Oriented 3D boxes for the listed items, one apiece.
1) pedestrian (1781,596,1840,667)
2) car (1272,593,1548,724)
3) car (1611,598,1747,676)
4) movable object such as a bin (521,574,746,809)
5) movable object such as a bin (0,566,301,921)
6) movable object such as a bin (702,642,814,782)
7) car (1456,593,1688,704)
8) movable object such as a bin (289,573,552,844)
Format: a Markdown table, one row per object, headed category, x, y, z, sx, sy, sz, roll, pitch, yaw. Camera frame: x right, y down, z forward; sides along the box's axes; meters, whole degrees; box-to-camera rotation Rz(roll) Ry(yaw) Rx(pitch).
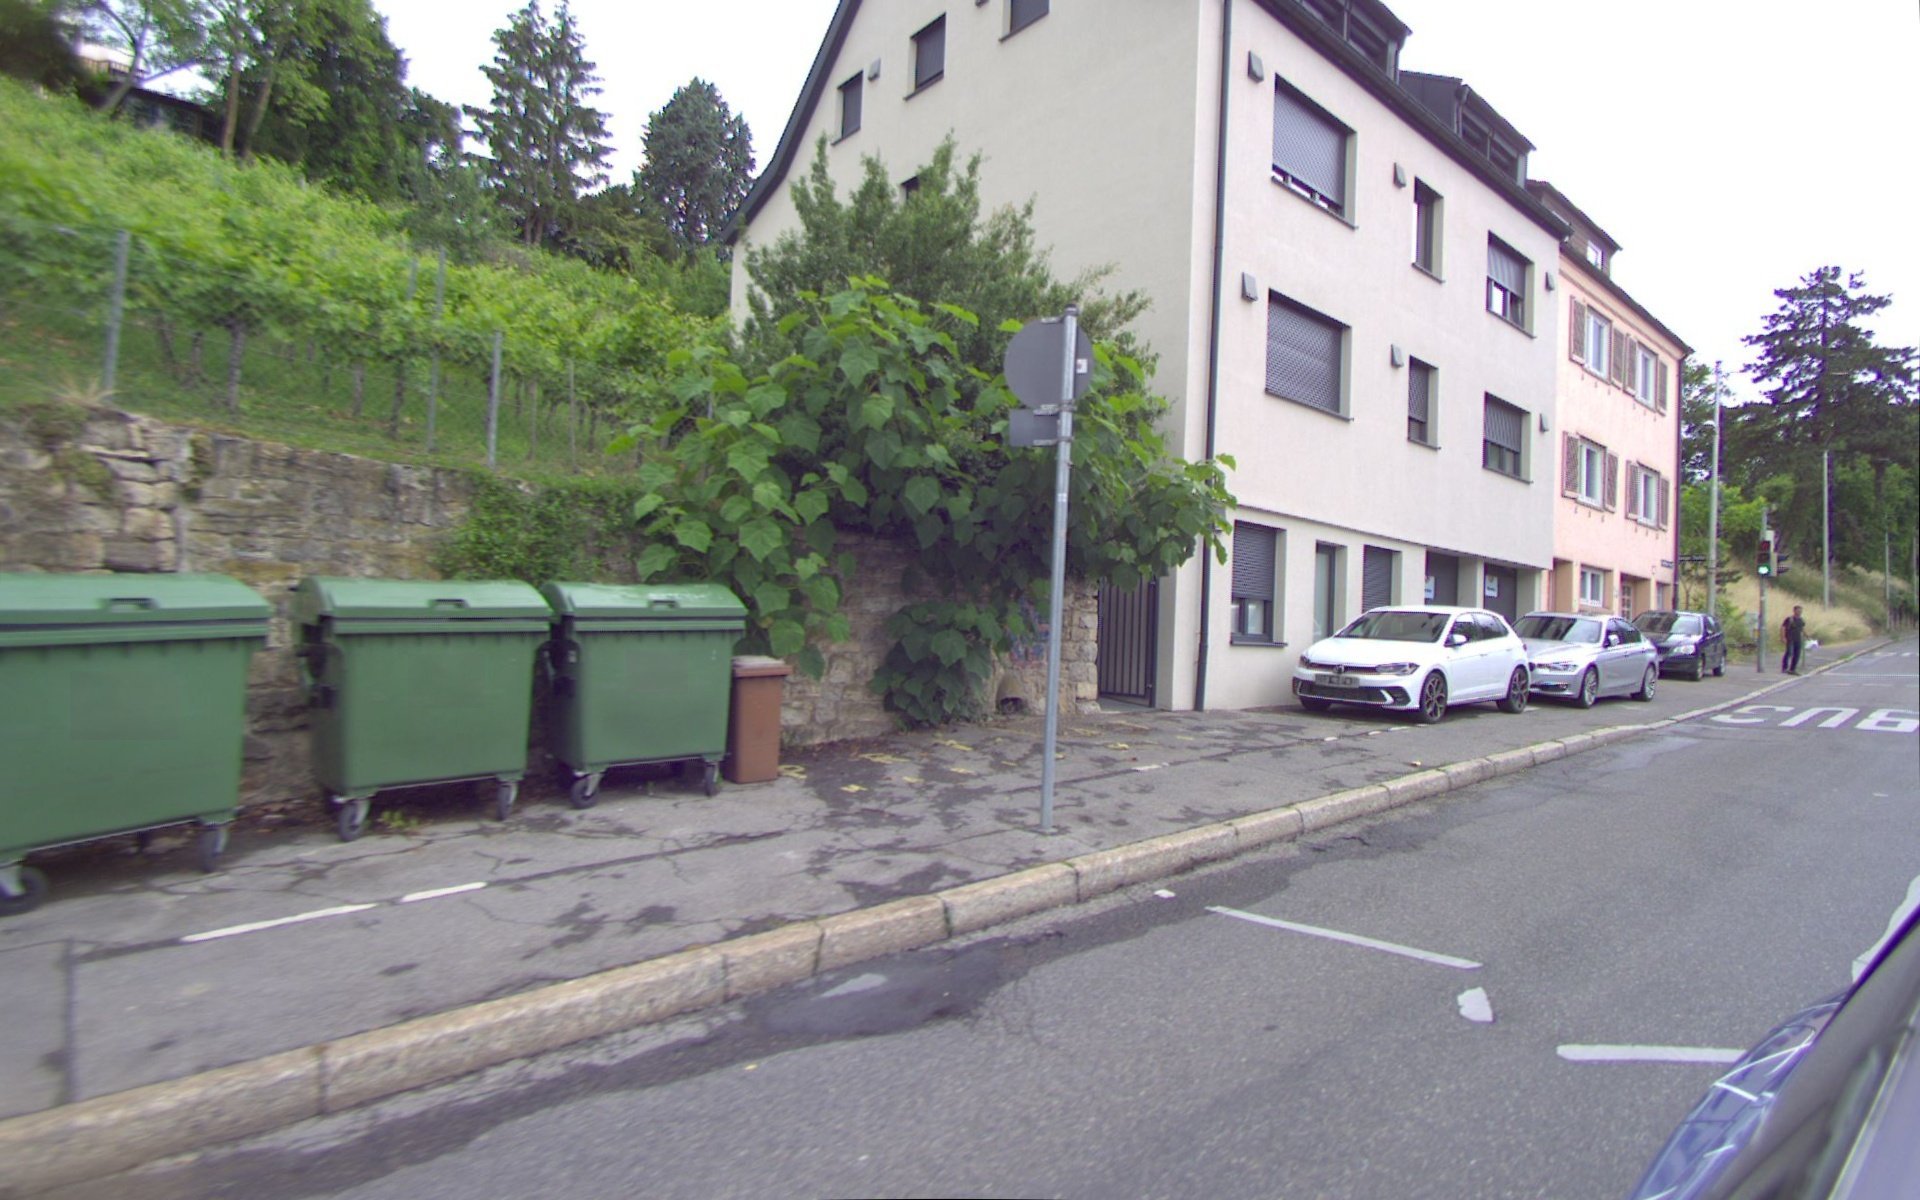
| category | x | y | z | sx | sy | sz | roll | pitch | yaw |
| --- | --- | --- | --- | --- | --- | --- | --- | --- | --- |
| pedestrian | 21.094 | 0.782 | 25.118 | 0.864 | 1.718 | 0.881 | -2 | -1 | 28 |
| car | 6.109 | 0.673 | 13.561 | 3.933 | 1.441 | 1.798 | 0 | 2 | -40 |
| car | 16.216 | 0.758 | 22.755 | 3.933 | 1.468 | 1.684 | 0 | 4 | -44 |
| movable object such as a bin | -2.288 | 0.559 | 7.094 | 1.184 | 1.463 | 1.049 | 0 | 1 | -42 |
| movable object such as a bin | -4.156 | 0.578 | 4.827 | 1.043 | 1.463 | 1.402 | 1 | 1 | 32 |
| movable object such as a bin | -1.544 | 0.828 | 7.747 | 0.629 | 0.954 | 0.595 | 0 | 1 | -42 |
| car | 10.165 | 0.724 | 16.657 | 4.634 | 1.468 | 1.799 | 1 | 3 | -40 |
| movable object such as a bin | -3.325 | 0.570 | 6.244 | 1.048 | 1.463 | 1.186 | 1 | 1 | 45 |
